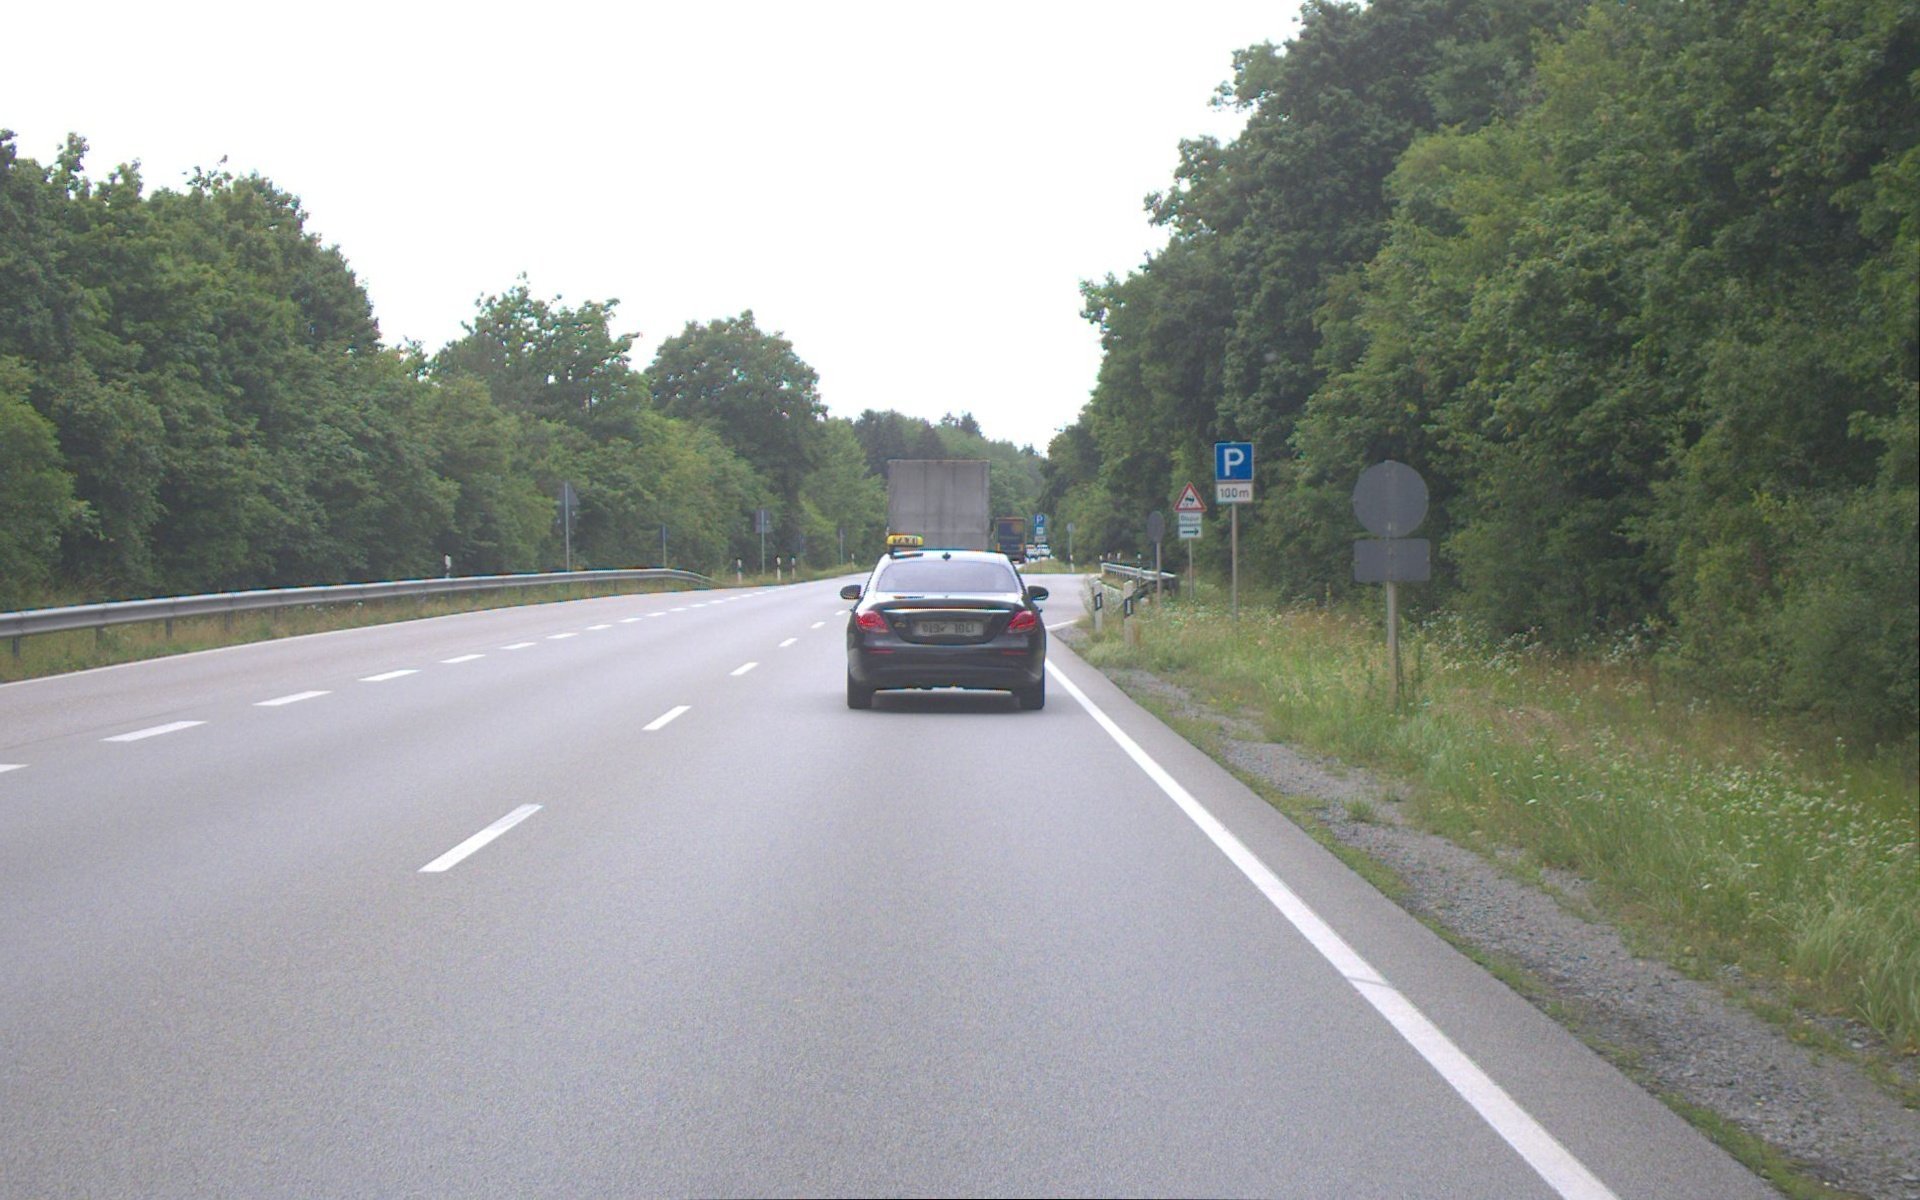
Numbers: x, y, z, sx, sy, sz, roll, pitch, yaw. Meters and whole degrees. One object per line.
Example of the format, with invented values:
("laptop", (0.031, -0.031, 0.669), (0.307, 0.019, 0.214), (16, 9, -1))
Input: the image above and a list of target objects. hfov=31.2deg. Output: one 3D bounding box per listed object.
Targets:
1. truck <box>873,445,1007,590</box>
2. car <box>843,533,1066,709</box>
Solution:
("truck", (-0.544, -2.150, 91.411), (3.281, 3.599, 11.400), (1, 1, 0))
("car", (-0.116, 0.155, 32.595), (1.791, 1.546, 4.001), (1, 1, -4))
